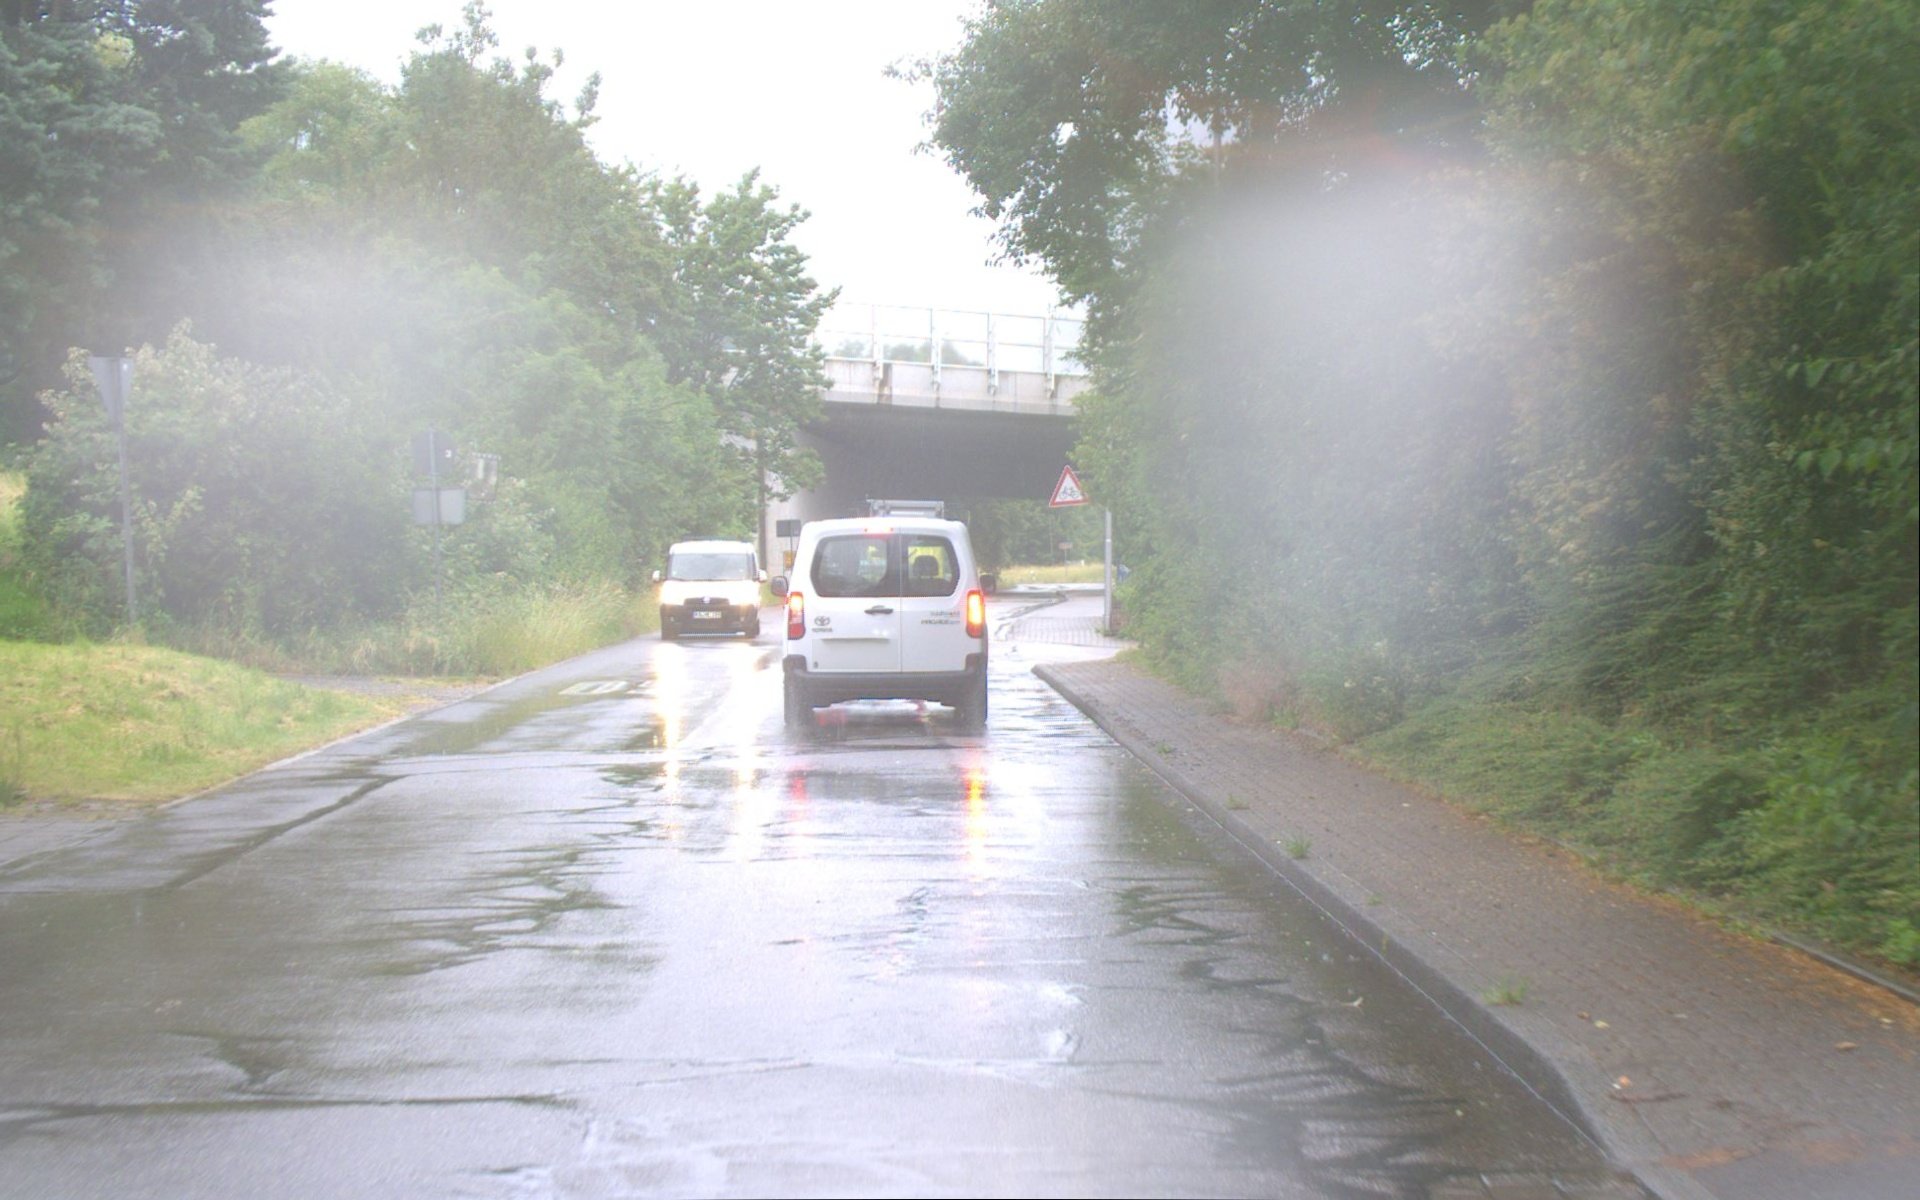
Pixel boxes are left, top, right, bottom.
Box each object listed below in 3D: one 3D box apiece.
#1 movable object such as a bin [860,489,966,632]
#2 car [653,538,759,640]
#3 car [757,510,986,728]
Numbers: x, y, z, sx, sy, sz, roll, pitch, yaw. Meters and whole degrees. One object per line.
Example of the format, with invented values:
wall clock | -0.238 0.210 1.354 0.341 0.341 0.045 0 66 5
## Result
movable object such as a bin | -0.829 -0.722 63.490 1.761 2.539 4.239 0 1 2
car | -4.673 -0.220 63.730 1.823 1.825 4.308 0 1 -2
car | -0.756 0.111 31.109 1.896 1.800 4.000 -1 1 0
